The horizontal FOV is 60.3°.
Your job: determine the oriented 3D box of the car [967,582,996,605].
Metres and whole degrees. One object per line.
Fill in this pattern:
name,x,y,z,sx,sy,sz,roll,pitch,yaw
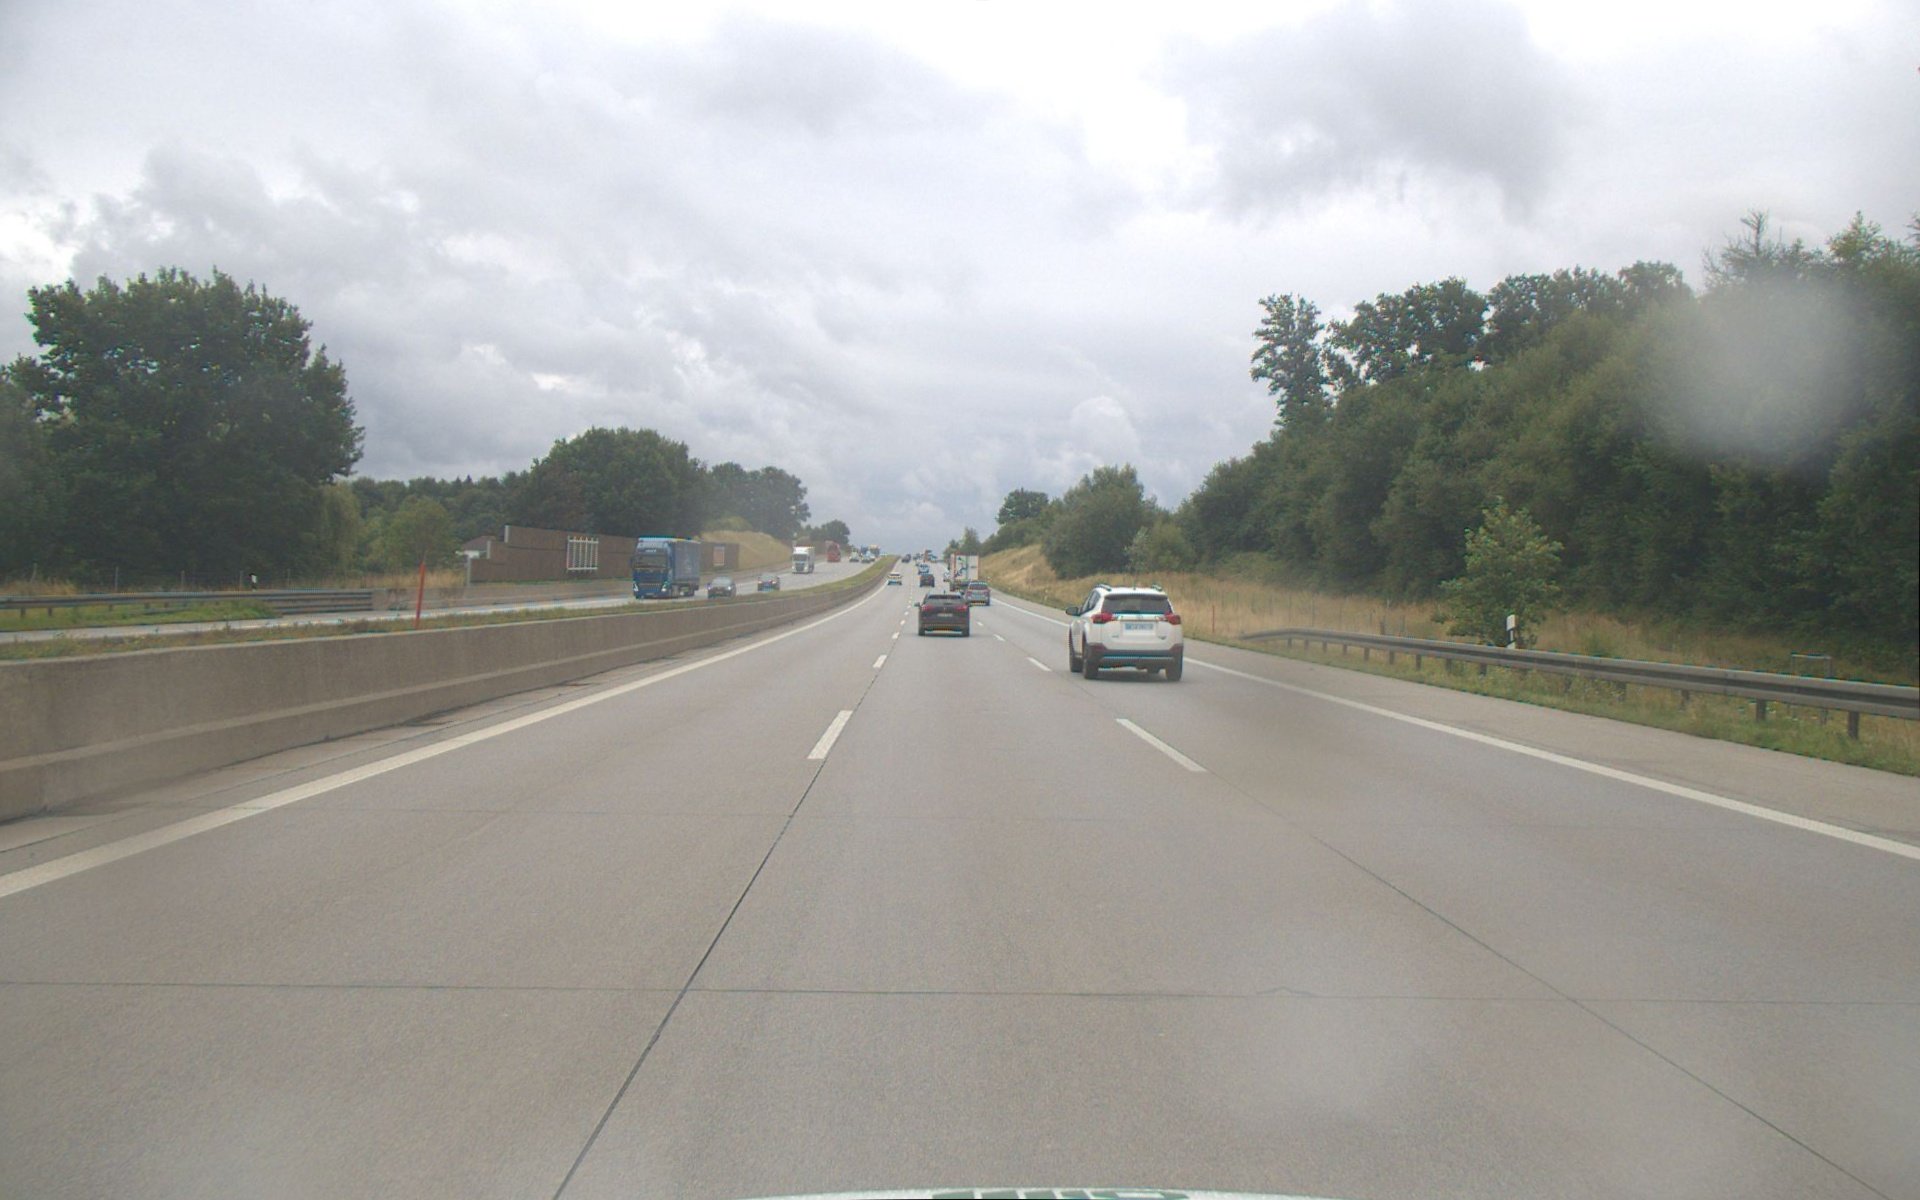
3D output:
car,1.549,-0.471,119.973,1.953,1.557,3.999,1,0,-1

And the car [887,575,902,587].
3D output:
car,-8.589,-2.457,216.841,1.908,1.380,4.258,0,-2,0

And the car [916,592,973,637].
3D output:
car,-0.552,0.503,55.712,1.717,1.423,4.481,1,-1,-3

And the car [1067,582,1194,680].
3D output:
car,3.105,0.533,30.898,1.789,1.684,3.983,1,0,-2

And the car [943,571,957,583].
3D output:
car,-1.418,-3.450,244.987,1.952,1.668,4.001,1,1,0

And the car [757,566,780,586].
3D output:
car,-18.057,-2.221,155.922,1.780,1.798,4.730,1,0,-2

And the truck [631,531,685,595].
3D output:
truck,-20.983,-2.493,115.061,2.637,4.261,6.209,1,0,-1

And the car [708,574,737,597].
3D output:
car,-17.103,-1.007,119.395,1.604,1.527,4.515,1,-1,-3

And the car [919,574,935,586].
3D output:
car,-4.149,-2.460,207.649,1.896,1.399,4.594,2,0,0

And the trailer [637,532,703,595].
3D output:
trailer,-21.123,-2.572,121.260,2.655,4.282,13.789,1,0,-1

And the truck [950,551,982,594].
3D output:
truck,0.529,-2.821,168.843,2.956,4.253,8.352,1,1,-1
